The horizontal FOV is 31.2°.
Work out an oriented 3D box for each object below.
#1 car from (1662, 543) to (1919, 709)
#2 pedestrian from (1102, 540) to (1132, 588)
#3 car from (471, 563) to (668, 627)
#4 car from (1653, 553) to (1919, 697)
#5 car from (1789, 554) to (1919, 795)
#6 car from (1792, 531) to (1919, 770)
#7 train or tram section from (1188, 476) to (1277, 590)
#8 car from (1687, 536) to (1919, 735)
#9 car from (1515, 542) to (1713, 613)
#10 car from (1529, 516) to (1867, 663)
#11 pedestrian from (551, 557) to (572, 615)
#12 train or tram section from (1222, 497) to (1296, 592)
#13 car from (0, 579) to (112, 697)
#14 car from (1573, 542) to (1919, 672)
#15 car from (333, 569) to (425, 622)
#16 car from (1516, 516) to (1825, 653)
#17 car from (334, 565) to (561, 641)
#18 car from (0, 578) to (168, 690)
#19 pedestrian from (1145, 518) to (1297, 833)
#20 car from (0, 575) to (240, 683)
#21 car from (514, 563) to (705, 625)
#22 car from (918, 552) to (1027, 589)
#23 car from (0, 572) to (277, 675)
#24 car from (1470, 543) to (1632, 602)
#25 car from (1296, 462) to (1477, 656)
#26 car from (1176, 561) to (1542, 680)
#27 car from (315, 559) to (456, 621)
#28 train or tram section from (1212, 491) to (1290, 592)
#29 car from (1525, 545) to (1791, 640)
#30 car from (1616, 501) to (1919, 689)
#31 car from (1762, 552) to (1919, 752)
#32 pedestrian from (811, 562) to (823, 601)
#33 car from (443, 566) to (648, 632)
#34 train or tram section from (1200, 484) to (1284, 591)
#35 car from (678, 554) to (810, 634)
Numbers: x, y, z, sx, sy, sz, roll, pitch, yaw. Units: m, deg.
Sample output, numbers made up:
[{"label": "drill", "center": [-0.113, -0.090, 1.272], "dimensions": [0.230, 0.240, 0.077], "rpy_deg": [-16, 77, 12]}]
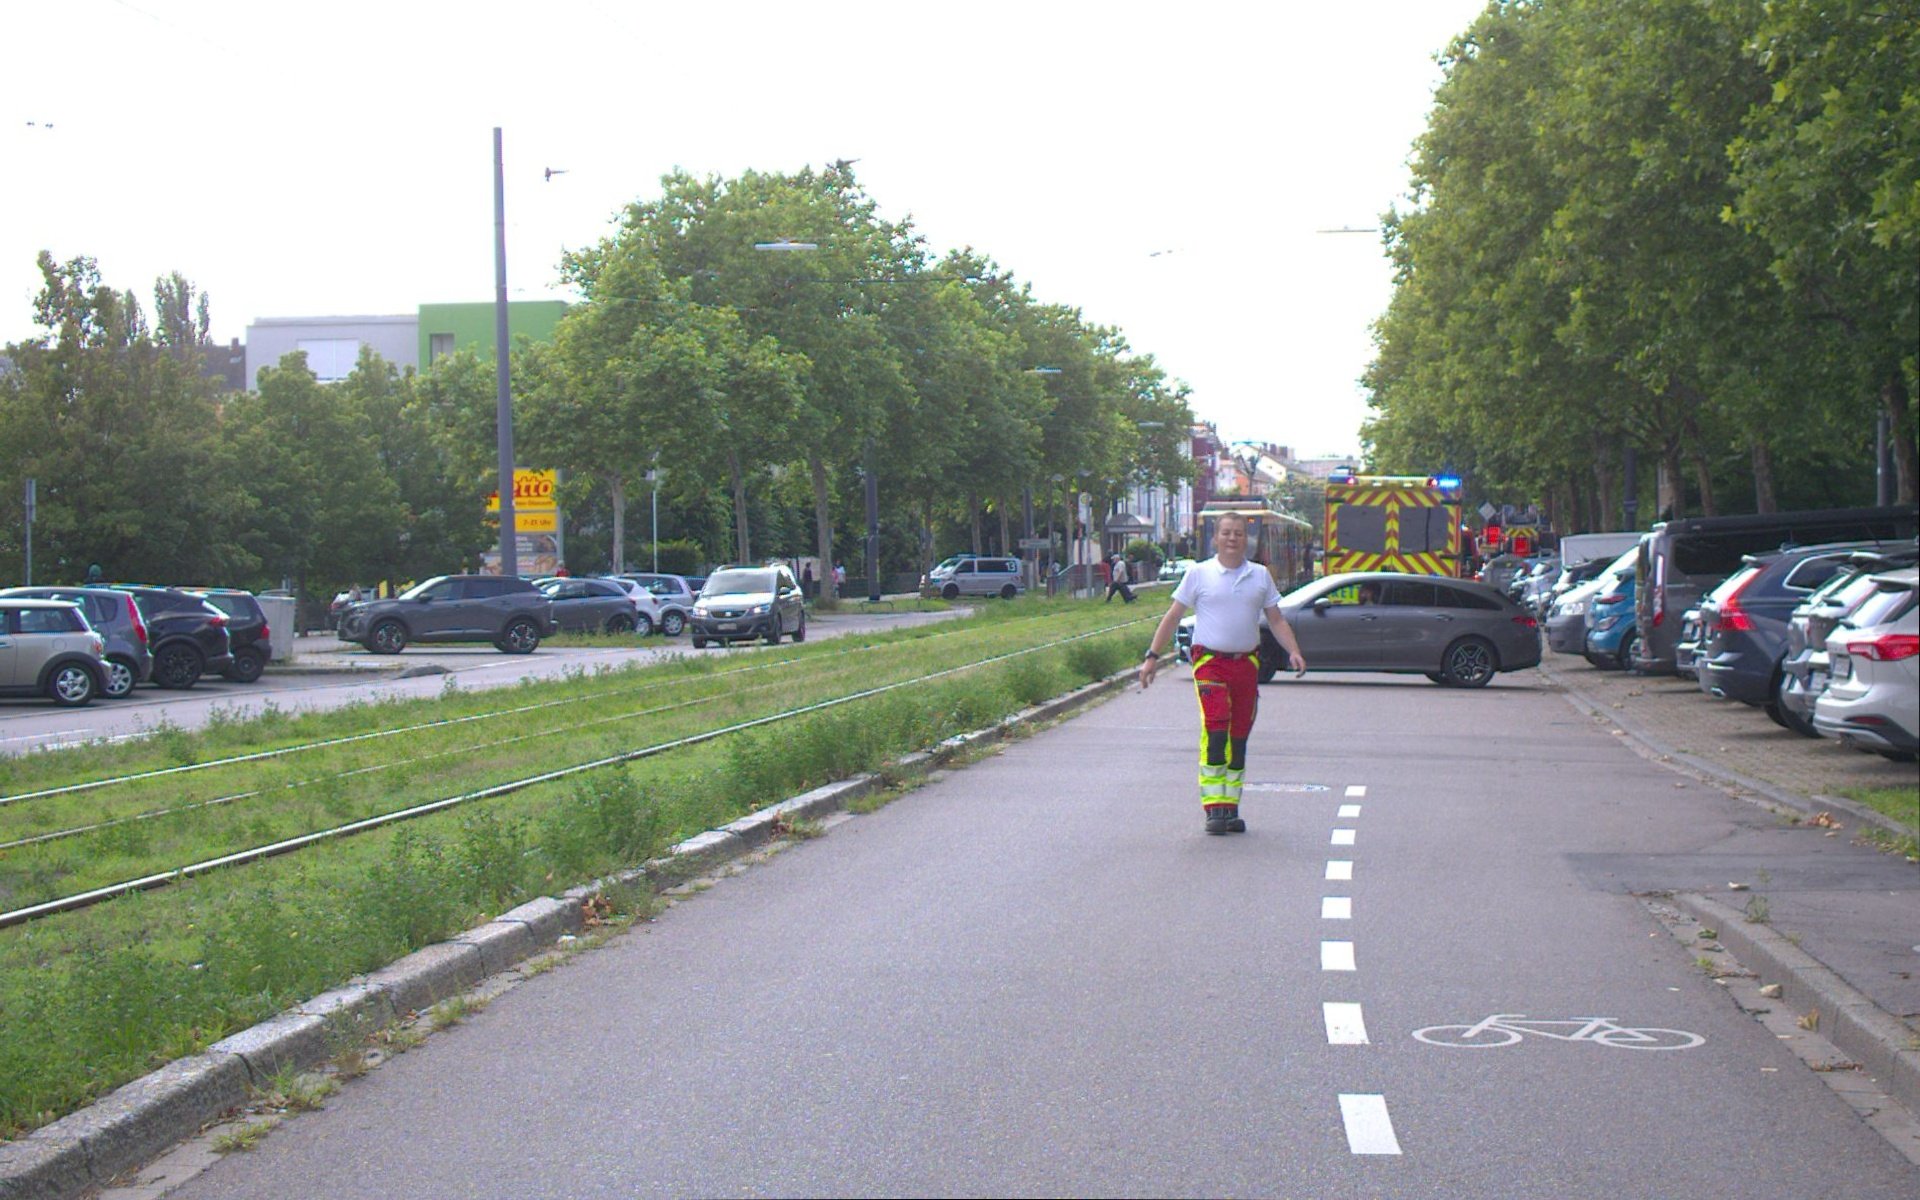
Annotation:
[{"label": "car", "center": [9.373, 0.229, 35.107], "dimensions": [3.965, 1.600, 1.756], "rpy_deg": [-2, 0, -3]}, {"label": "pedestrian", "center": [5.053, -1.149, 110.337], "dimensions": [0.881, 1.520, 0.751], "rpy_deg": [1, 0, 7]}, {"label": "car", "center": [-9.205, -0.124, 81.071], "dimensions": [4.221, 1.477, 1.883], "rpy_deg": [0, 0, -28]}, {"label": "car", "center": [9.752, 0.251, 37.938], "dimensions": [3.966, 1.489, 1.755], "rpy_deg": [-1, 0, 7]}, {"label": "car", "center": [7.874, 0.404, 22.117], "dimensions": [4.659, 1.468, 1.847], "rpy_deg": [-1, 1, 4]}, {"label": "car", "center": [8.419, 0.280, 24.300], "dimensions": [4.659, 1.620, 1.847], "rpy_deg": [-1, 1, 4]}, {"label": "train or tram section", "center": [9.079, -2.161, 113.961], "dimensions": [2.512, 3.572, 7.443], "rpy_deg": [-2, 0, 7]}, {"label": "car", "center": [8.537, 0.260, 29.531], "dimensions": [4.382, 1.634, 1.755], "rpy_deg": [-1, 0, 10]}, {"label": "car", "center": [16.015, -0.558, 84.383], "dimensions": [4.546, 1.603, 1.855], "rpy_deg": [-1, 0, 4]}, {"label": "car", "center": [10.681, -0.158, 50.021], "dimensions": [4.546, 1.994, 1.855], "rpy_deg": [-1, 0, 4]}, {"label": "pedestrian", "center": [-11.480, -0.407, 99.067], "dimensions": [0.466, 1.671, 0.603], "rpy_deg": [-1, 1, 6]}, {"label": "train or tram section", "center": [11.867, -2.144, 136.073], "dimensions": [2.512, 3.572, 7.443], "rpy_deg": [-2, 0, 7]}, {"label": "car", "center": [-13.354, 0.513, 44.842], "dimensions": [4.220, 1.477, 1.884], "rpy_deg": [-1, 1, -21]}, {"label": "car", "center": [10.876, 0.088, 47.434], "dimensions": [4.546, 1.655, 1.856], "rpy_deg": [-1, 0, 3]}, {"label": "car", "center": [-19.905, -0.166, 117.983], "dimensions": [1.994, 1.744, 3.999], "rpy_deg": [1, 1, 7]}, {"label": "car", "center": [11.233, -0.249, 54.581], "dimensions": [4.546, 2.036, 1.855], "rpy_deg": [-1, 0, 4]}, {"label": "car", "center": [-10.153, 0.057, 68.039], "dimensions": [4.220, 1.477, 1.884], "rpy_deg": [0, 0, -17]}, {"label": "car", "center": [-13.289, 0.482, 47.707], "dimensions": [4.220, 1.477, 1.884], "rpy_deg": [-1, 1, -21]}, {"label": "pedestrian", "center": [1.432, 0.398, 18.777], "dimensions": [0.803, 1.680, 0.851], "rpy_deg": [0, 0, 5]}, {"label": "car", "center": [-12.904, 0.418, 50.644], "dimensions": [4.220, 1.477, 1.884], "rpy_deg": [-1, 1, -21]}, {"label": "car", "center": [-8.564, -0.141, 84.035], "dimensions": [4.221, 1.477, 1.883], "rpy_deg": [0, 0, -28]}, {"label": "car", "center": [0.575, -1.337, 156.178], "dimensions": [4.613, 1.627, 1.883], "rpy_deg": [-1, 1, -31]}, {"label": "car", "center": [-12.992, 0.345, 53.790], "dimensions": [4.220, 1.477, 1.884], "rpy_deg": [-1, 1, -21]}, {"label": "car", "center": [17.590, -0.818, 102.420], "dimensions": [4.546, 1.603, 1.855], "rpy_deg": [-1, 0, 4]}, {"label": "car", "center": [7.171, -0.673, 57.202], "dimensions": [2.642, 2.956, 6.297], "rpy_deg": [2, 1, 9]}, {"label": "car", "center": [5.063, 0.244, 44.034], "dimensions": [4.453, 1.381, 1.767], "rpy_deg": [1, 1, 1]}, {"label": "car", "center": [-17.230, -0.311, 103.007], "dimensions": [3.996, 1.744, 1.995], "rpy_deg": [2, 1, 39]}, {"label": "train or tram section", "center": [10.932, -2.150, 128.719], "dimensions": [2.512, 3.572, 7.443], "rpy_deg": [-2, 0, 7]}, {"label": "car", "center": [12.769, -0.136, 63.078], "dimensions": [4.546, 1.603, 1.855], "rpy_deg": [-1, 0, 4]}, {"label": "car", "center": [10.221, -0.076, 41.033], "dimensions": [4.547, 2.116, 1.855], "rpy_deg": [-1, 0, 7]}, {"label": "car", "center": [8.599, 0.349, 26.902], "dimensions": [4.382, 1.496, 1.755], "rpy_deg": [-1, 1, 10]}, {"label": "pedestrian", "center": [-5.430, -0.721, 130.496], "dimensions": [0.421, 1.468, 0.467], "rpy_deg": [-1, 1, 3]}, {"label": "car", "center": [-9.428, -0.027, 78.172], "dimensions": [4.221, 1.477, 1.883], "rpy_deg": [0, 0, -28]}, {"label": "train or tram section", "center": [10.001, -2.156, 121.334], "dimensions": [2.512, 3.572, 7.443], "rpy_deg": [-2, 0, 7]}, {"label": "car", "center": [-4.518, -0.153, 72.468], "dimensions": [1.994, 1.552, 4.369], "rpy_deg": [-2, 1, 7]}]
